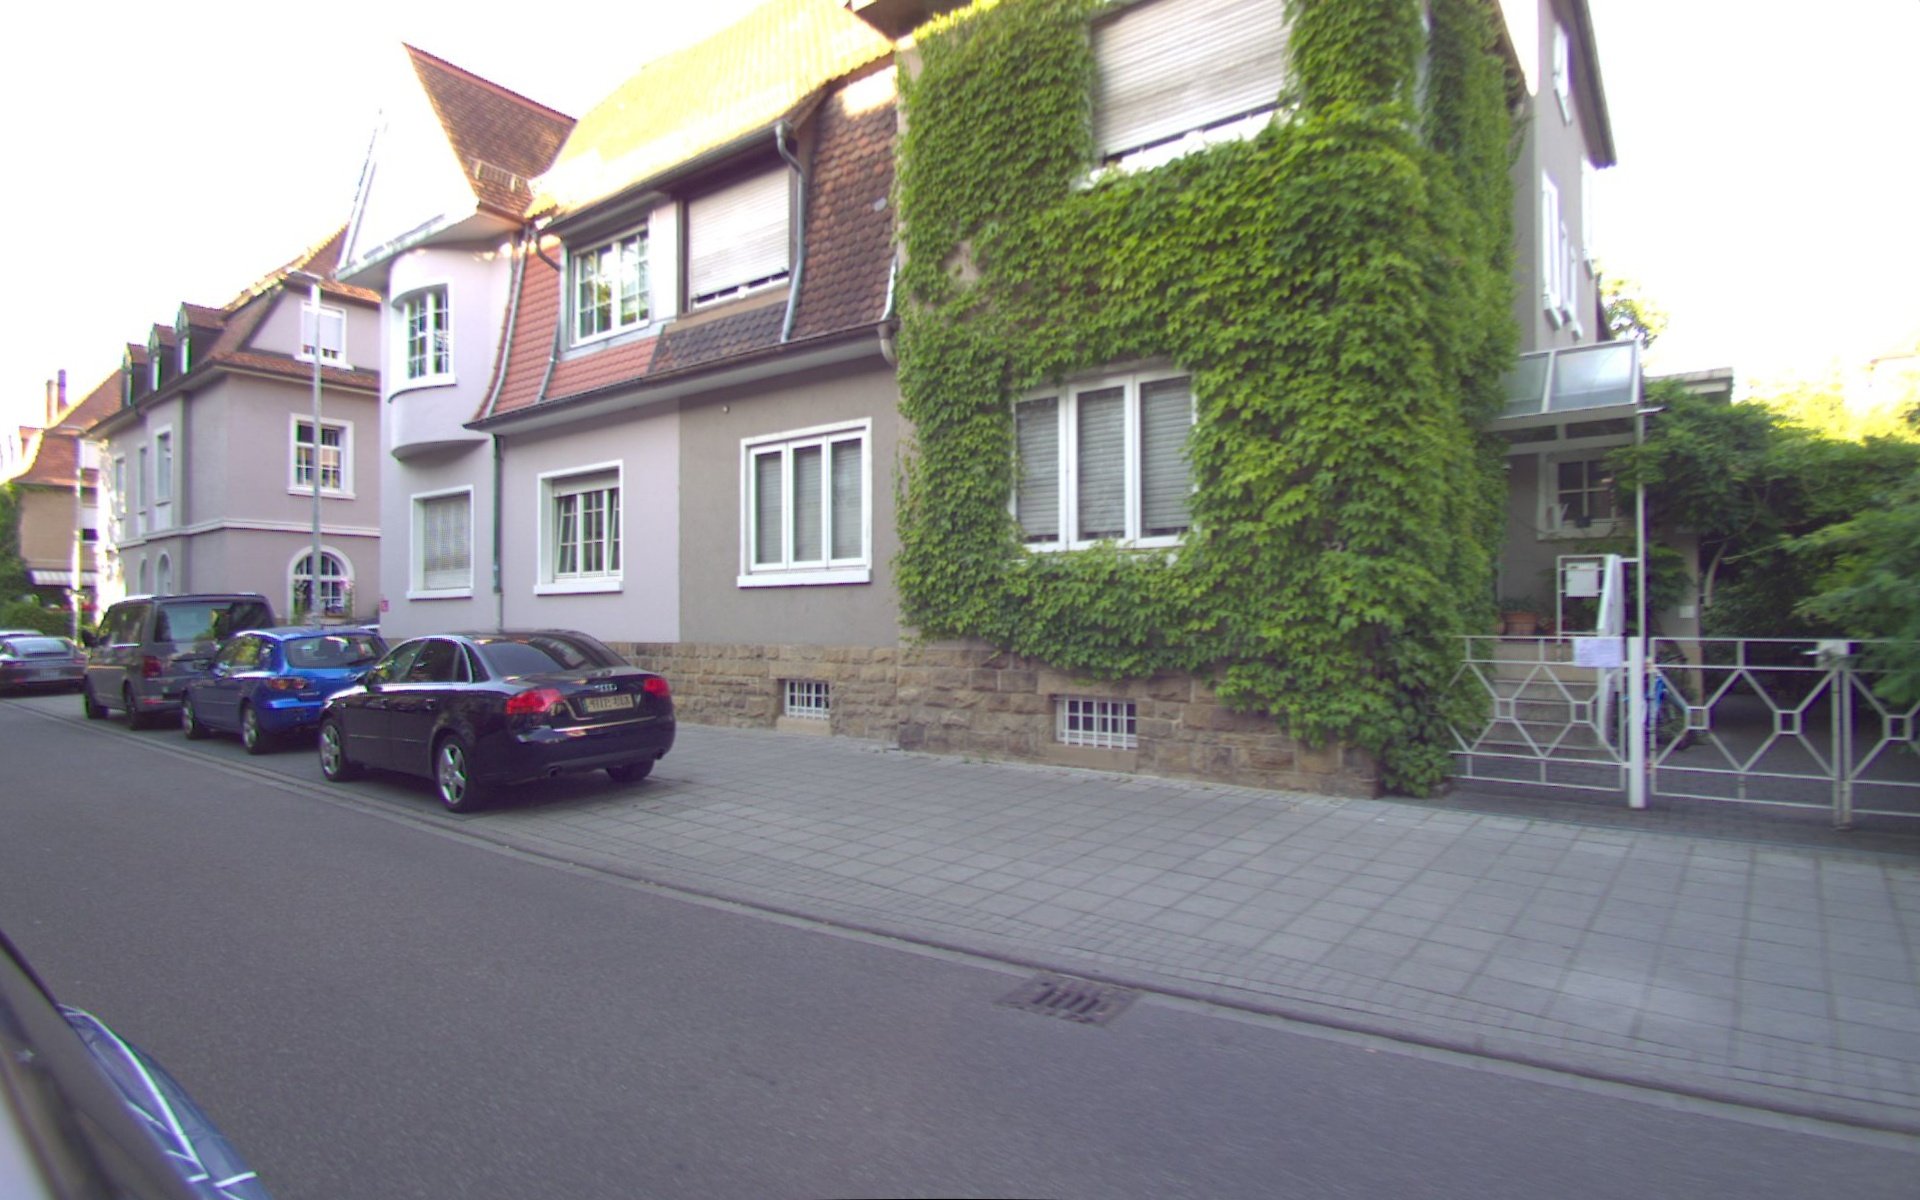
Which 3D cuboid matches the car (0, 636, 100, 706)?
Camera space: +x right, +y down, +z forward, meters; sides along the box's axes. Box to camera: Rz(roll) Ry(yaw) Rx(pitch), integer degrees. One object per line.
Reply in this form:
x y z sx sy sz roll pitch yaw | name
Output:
-21.387 1.575 23.343 4.062 1.394 1.907 -2 0 43 | car

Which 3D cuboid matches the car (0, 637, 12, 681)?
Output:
-31.704 1.910 32.373 3.675 1.372 1.641 -2 0 41 | car

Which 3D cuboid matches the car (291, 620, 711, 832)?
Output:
-4.391 0.966 9.351 4.424 1.457 1.783 -2 0 40 | car

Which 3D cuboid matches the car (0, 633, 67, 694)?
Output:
-25.463 1.670 27.005 4.060 1.478 1.908 -2 0 41 | car

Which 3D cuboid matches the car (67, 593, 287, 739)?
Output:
-12.635 0.967 16.218 4.608 1.990 1.819 -2 0 40 | car

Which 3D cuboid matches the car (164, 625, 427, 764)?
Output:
-8.693 1.103 13.115 4.059 1.457 1.745 -2 0 40 | car

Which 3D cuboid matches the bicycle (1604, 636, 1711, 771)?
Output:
6.724 0.926 9.704 0.476 1.111 2.173 -2 -2 44 | bicycle
